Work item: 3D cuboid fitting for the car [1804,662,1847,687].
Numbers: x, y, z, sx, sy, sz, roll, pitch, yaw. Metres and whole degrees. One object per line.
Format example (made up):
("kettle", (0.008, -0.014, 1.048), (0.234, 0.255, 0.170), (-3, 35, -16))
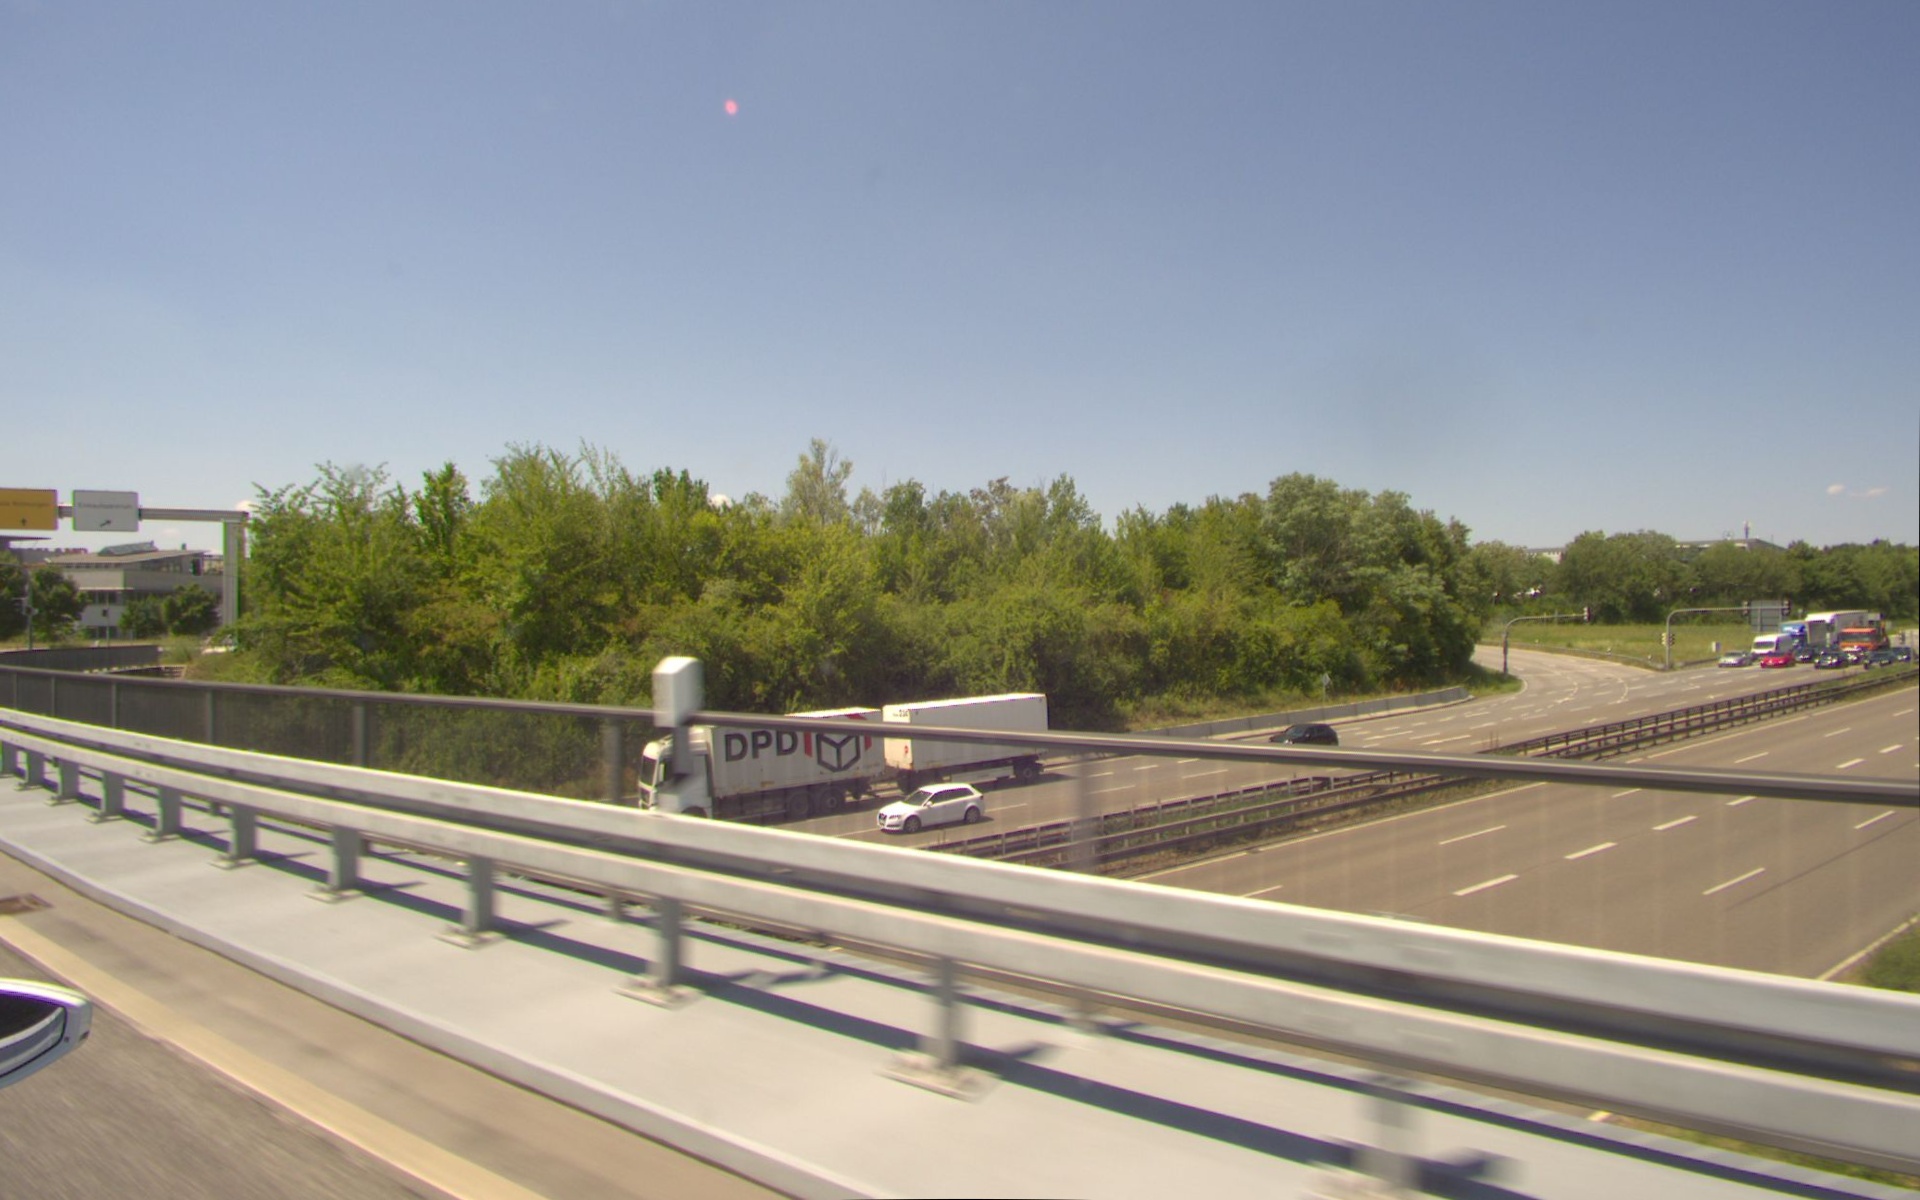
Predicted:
("car", (77.038, 6.616, 89.111), (3.948, 2.039, 1.987), (0, -1, -35))

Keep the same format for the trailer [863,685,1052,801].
("trailer", (-0.024, 6.315, 45.606), (8.277, 4.403, 2.884), (0, -1, -32))

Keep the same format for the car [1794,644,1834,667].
("car", (81.597, 5.260, 95.670), (3.948, 2.039, 1.987), (0, -1, -35))

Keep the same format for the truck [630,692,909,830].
("truck", (-7.507, 6.275, 40.772), (10.864, 4.403, 2.883), (0, -1, -33))

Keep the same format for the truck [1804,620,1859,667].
("truck", (99.464, 4.862, 114.190), (10.944, 5.033, 2.406), (0, -1, -37))

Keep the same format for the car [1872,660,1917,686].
("car", (79.891, 6.231, 85.629), (3.948, 2.039, 1.987), (0, -1, -35))

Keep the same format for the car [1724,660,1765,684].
("car", (74.344, 6.818, 94.876), (3.948, 2.039, 1.987), (0, -1, -35))

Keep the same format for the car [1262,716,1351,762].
("car", (17.836, 7.106, 51.508), (4.462, 1.728, 1.902), (-3, 0, -31))

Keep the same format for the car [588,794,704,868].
("car", (-9.855, 7.191, 31.429), (3.190, 1.698, 1.708), (0, -1, -29))

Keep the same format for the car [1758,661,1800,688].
("car", (75.489, 6.849, 92.331), (3.948, 2.238, 1.971), (0, -1, -35))

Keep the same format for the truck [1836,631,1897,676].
("truck", (87.843, 5.122, 96.964), (8.773, 4.062, 2.694), (0, -1, -36))

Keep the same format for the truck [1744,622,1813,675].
("truck", (83.604, 4.802, 102.201), (12.254, 5.074, 2.559), (0, -1, -37))

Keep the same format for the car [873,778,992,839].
("car", (-1.000, 7.725, 37.382), (4.086, 1.573, 1.785), (0, -1, -30))
